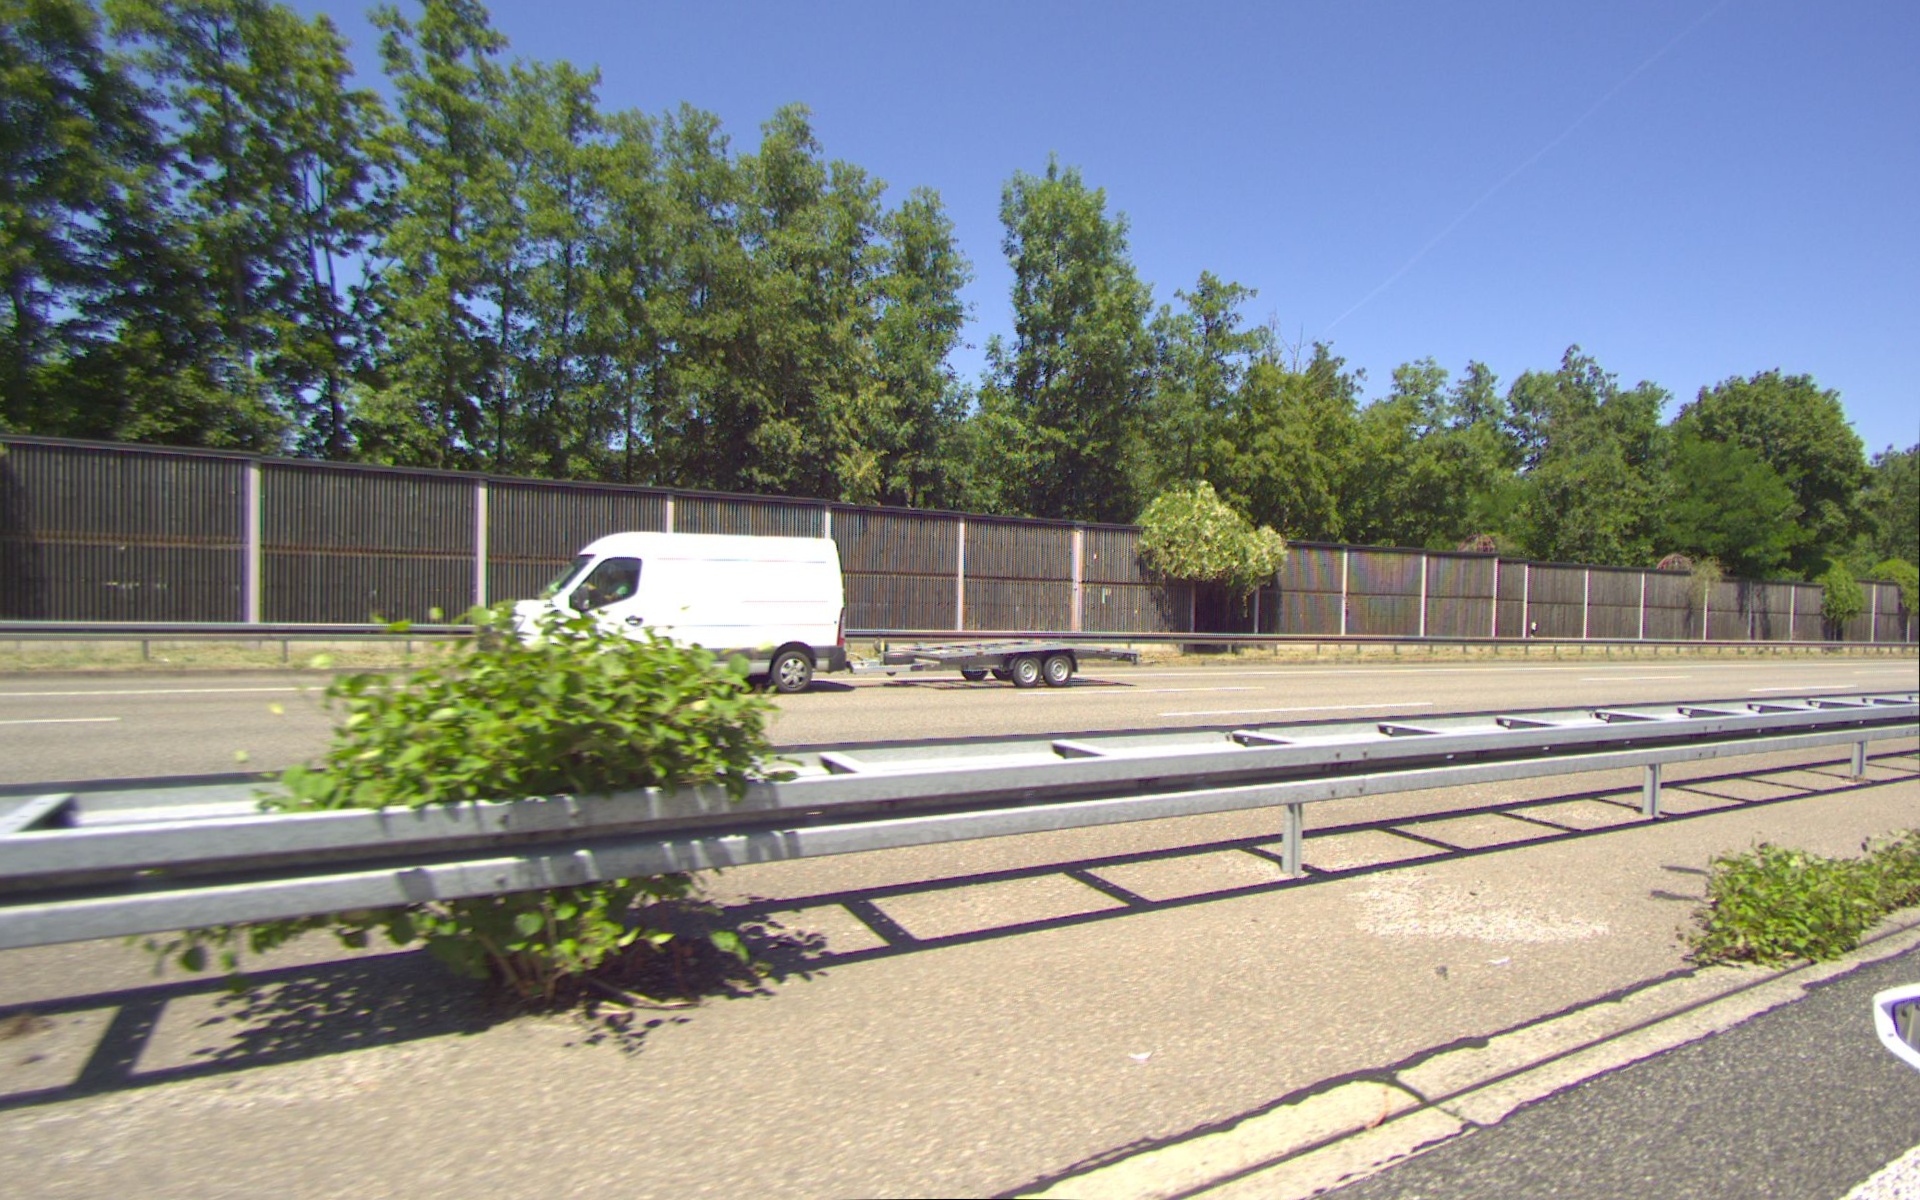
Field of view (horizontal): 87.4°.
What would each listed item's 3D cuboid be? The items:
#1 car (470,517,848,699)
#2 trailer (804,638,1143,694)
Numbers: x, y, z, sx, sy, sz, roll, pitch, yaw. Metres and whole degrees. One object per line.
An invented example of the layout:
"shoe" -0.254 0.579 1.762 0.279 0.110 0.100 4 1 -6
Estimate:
"car" -4.642 0.166 15.812 5.352 2.463 2.013 2 0 -31
"trailer" 0.379 1.183 18.883 6.212 0.818 2.149 2 0 -32
